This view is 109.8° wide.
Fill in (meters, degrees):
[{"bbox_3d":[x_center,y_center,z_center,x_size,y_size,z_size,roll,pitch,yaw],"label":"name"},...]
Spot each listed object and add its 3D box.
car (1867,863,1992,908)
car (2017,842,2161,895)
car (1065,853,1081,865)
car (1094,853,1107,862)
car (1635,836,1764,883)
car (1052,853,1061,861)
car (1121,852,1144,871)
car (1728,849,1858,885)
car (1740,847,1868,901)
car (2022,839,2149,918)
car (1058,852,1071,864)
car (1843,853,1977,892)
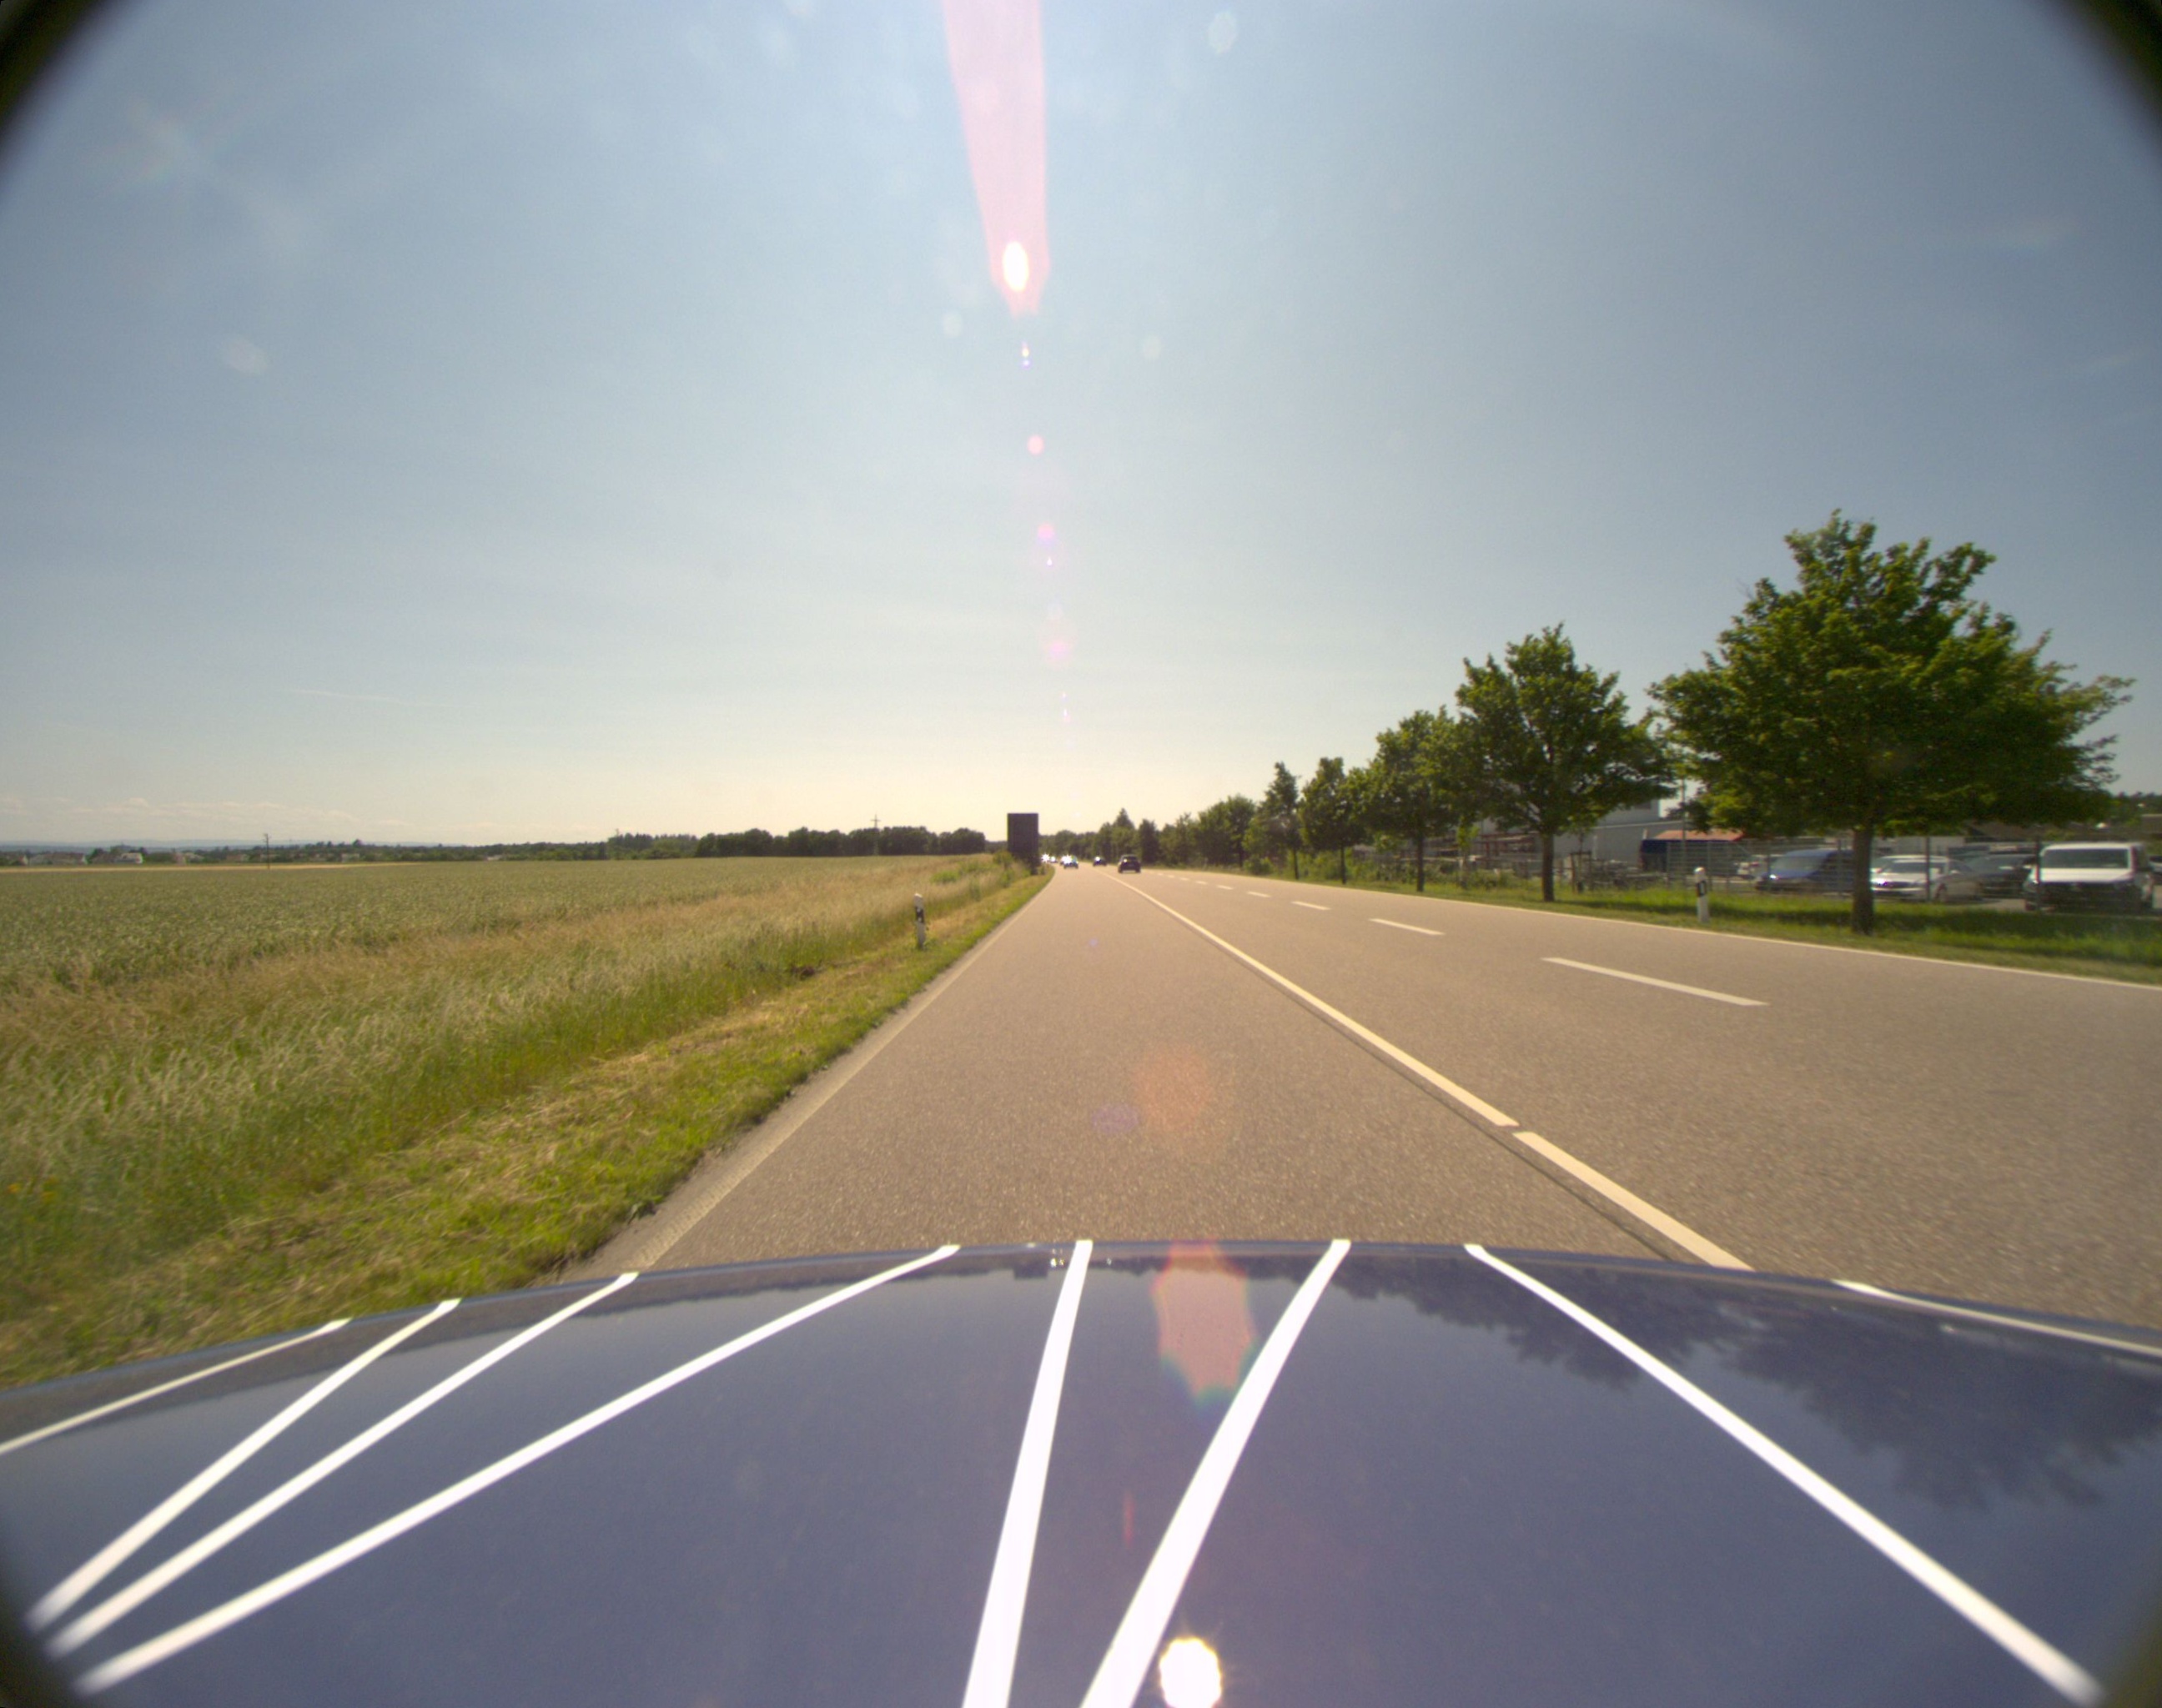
[{"bbox_3d":[27.748,0.969,24.852,3.684,1.257,1.812,-2,0,-27],"label":"car"},{"bbox_3d":[48.828,0.636,36.288,2.060,2.412,5.089,0,0,-37],"label":"car"},{"bbox_3d":[-0.981,0.635,93.960,1.694,1.431,3.708,-1,0,-5],"label":"car"},{"bbox_3d":[2.704,0.500,106.939,1.640,1.261,3.811,-2,0,-2],"label":"car"},{"bbox_3d":[36.963,0.292,45.650,5.728,2.707,2.370,1,1,31],"label":"car"},{"bbox_3d":[-5.445,0.746,168.434,1.555,1.659,3.996,-2,1,-10],"label":"car"},{"bbox_3d":[4.301,0.638,64.004,1.684,1.490,3.885,-2,0,0],"label":"car"},{"bbox_3d":[38.002,0.668,40.706,4.625,1.796,2.058,0,0,15],"label":"car"},{"bbox_3d":[27.410,0.711,28.799,4.310,1.791,2.021,-2,1,-24],"label":"car"},{"bbox_3d":[28.361,0.610,21.423,4.673,1.943,1.822,-2,1,-33],"label":"car"},{"bbox_3d":[-2.840,0.732,129.420,1.999,2.002,3.999,-1,0,-4],"label":"car"},{"bbox_3d":[32.776,0.717,30.108,3.697,1.400,1.641,-2,1,-4],"label":"car"}]
